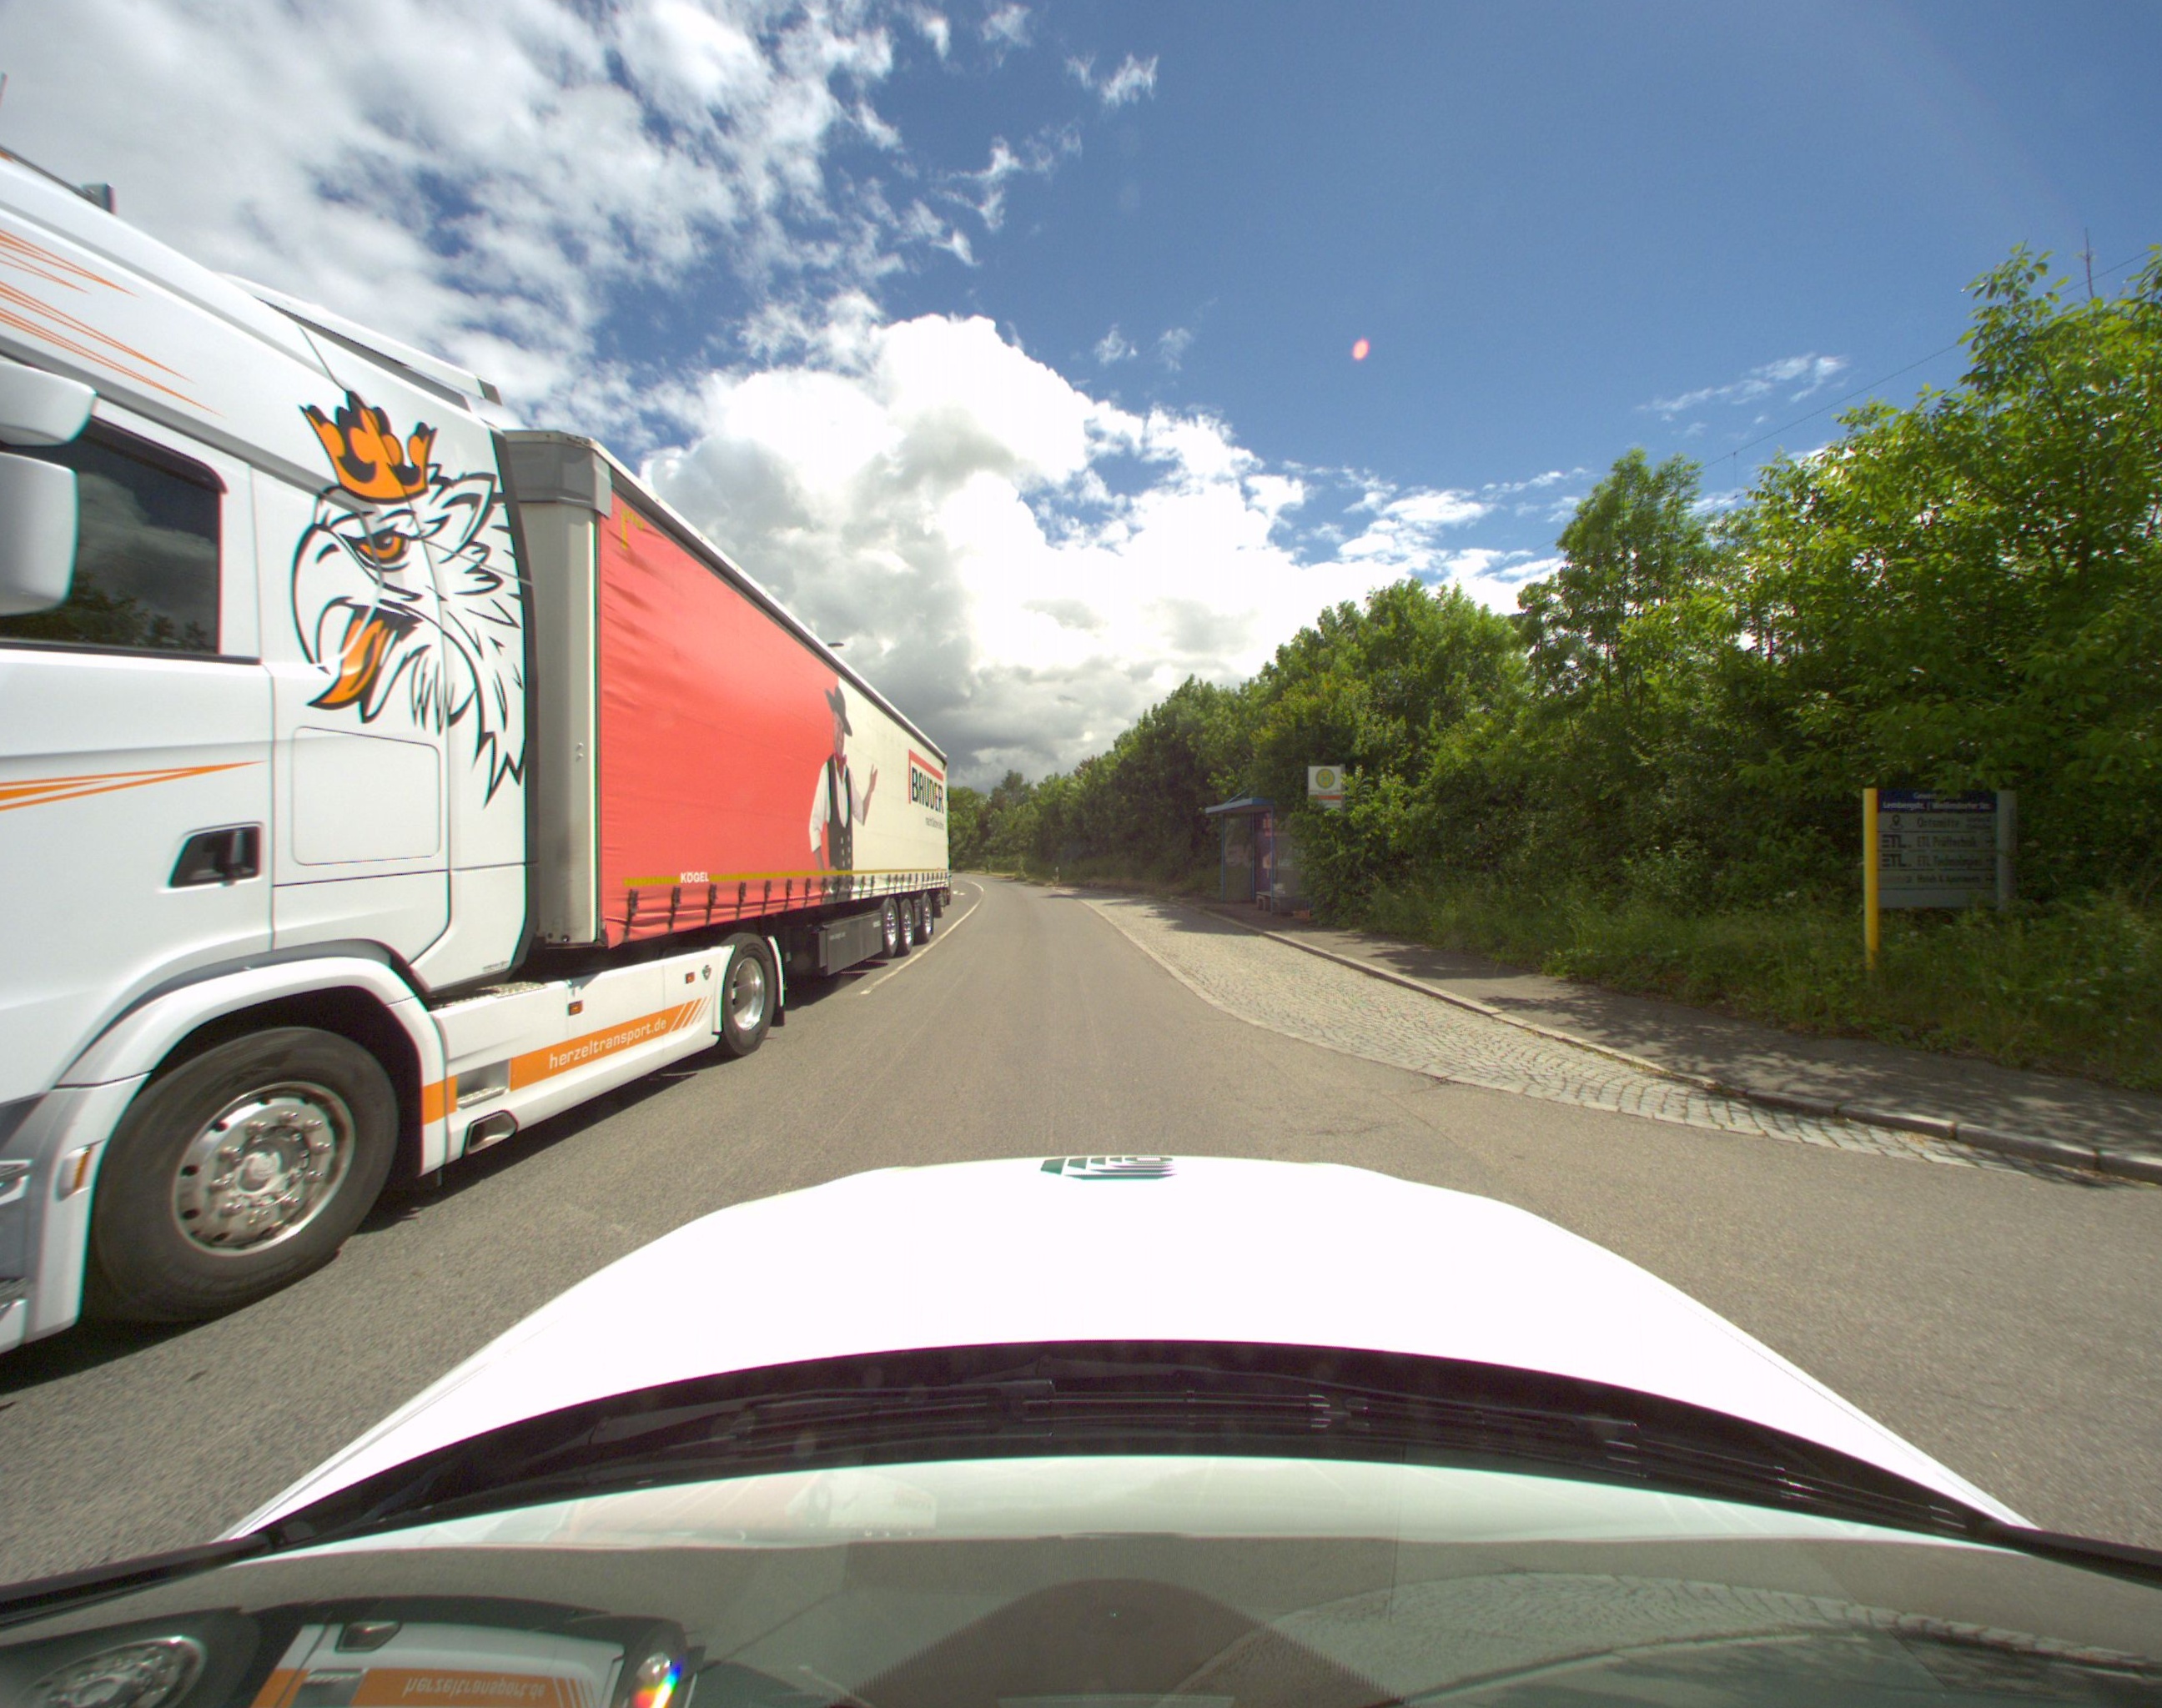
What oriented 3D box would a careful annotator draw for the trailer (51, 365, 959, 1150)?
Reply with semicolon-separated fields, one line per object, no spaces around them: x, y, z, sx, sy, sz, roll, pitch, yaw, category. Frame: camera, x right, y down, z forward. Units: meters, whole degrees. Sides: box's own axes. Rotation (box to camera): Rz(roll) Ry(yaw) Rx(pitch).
-4.167;-0.443;12.010;2.763;4.145;15.341;0;-1;-1;trailer

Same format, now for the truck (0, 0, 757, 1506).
-4.011;-0.476;4.184;2.763;4.119;4.983;0;-1;-1;truck

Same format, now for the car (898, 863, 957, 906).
-5.737;1.091;30.907;1.837;1.463;4.244;-2;0;-6;car
